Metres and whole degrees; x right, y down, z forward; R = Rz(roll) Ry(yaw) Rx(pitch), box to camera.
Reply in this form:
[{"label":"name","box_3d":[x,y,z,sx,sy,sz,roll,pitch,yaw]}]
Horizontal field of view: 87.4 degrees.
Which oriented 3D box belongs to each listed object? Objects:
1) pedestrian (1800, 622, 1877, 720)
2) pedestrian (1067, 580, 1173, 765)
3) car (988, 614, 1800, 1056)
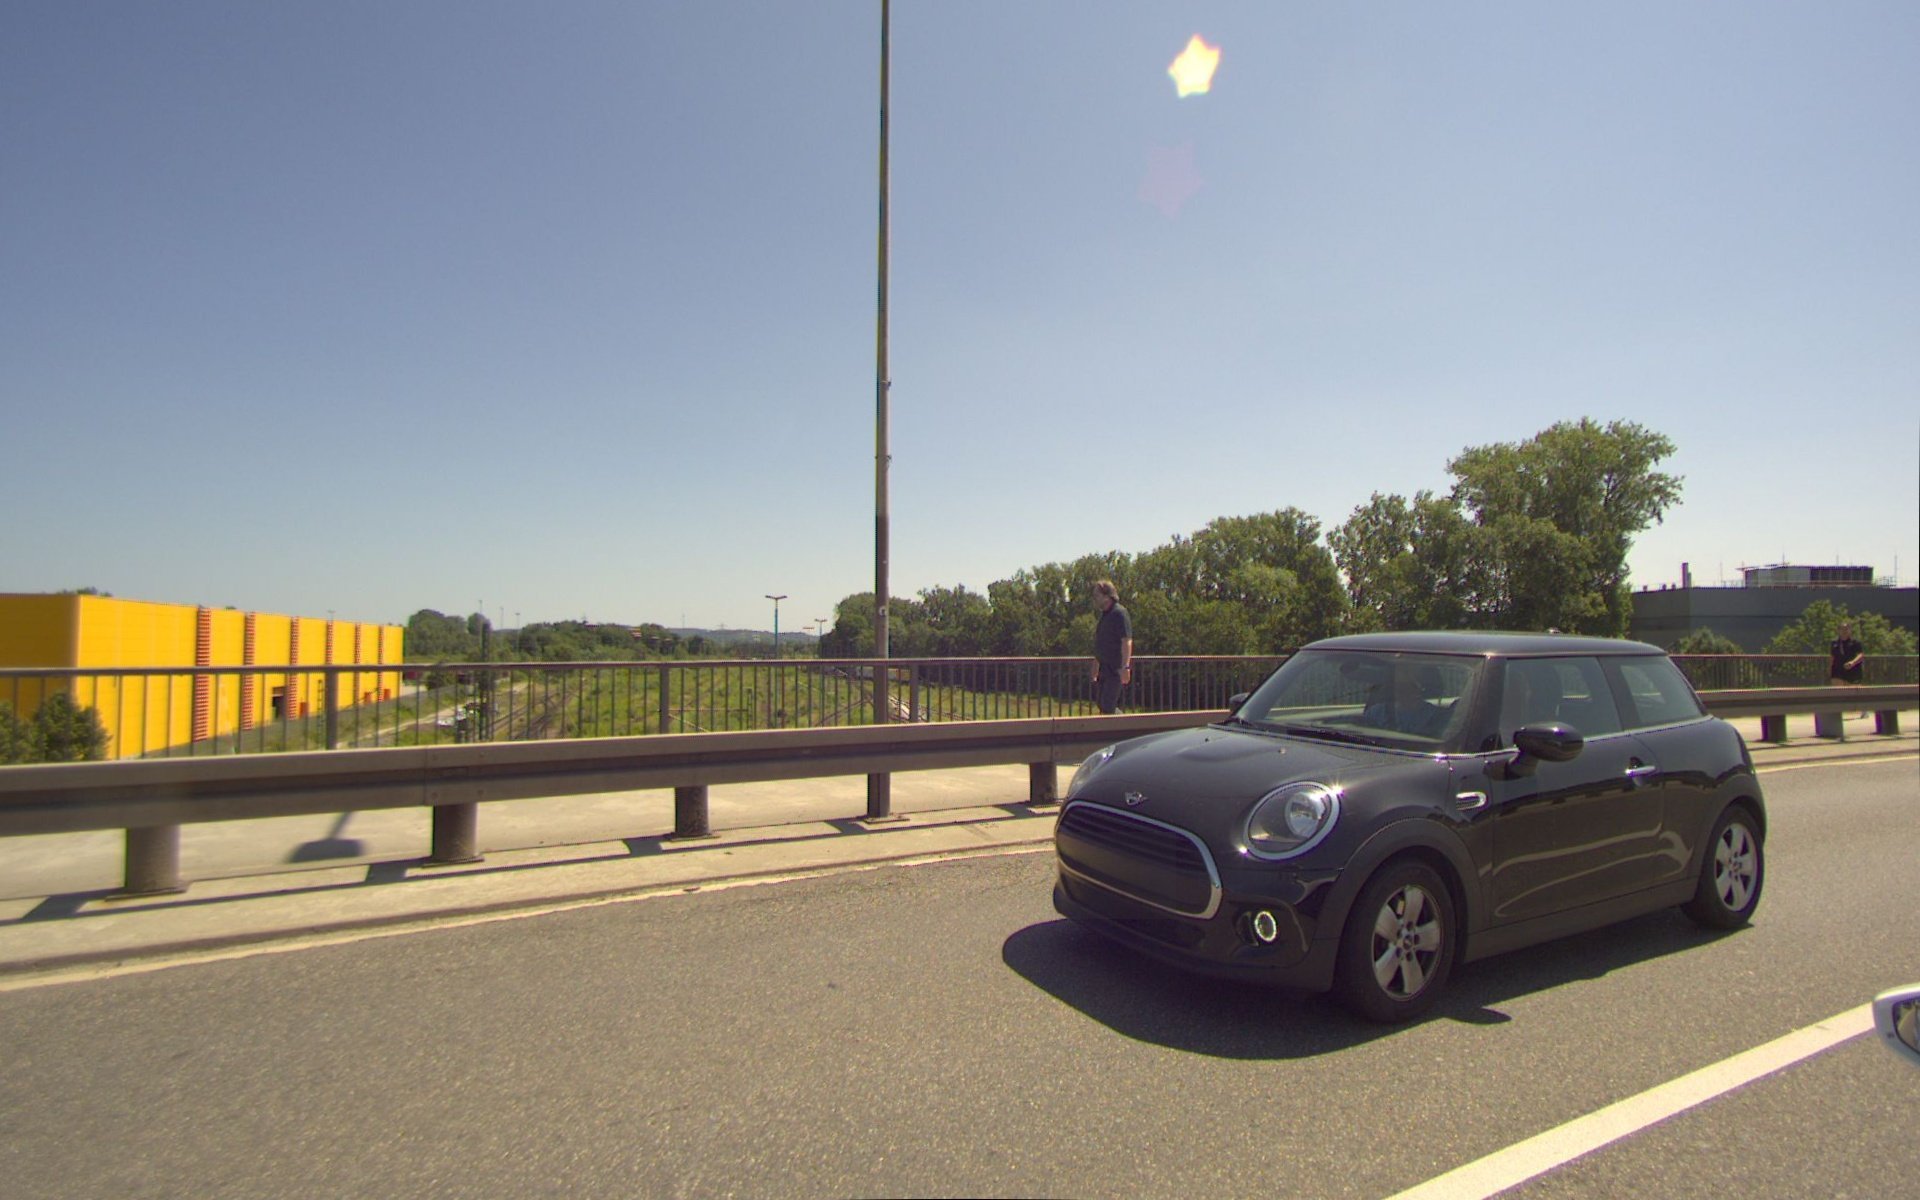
[{"label":"pedestrian","box_3d":[14.503,1.160,16.594,0.684,1.582,0.713,2,-2,-22]},{"label":"pedestrian","box_3d":[1.631,0.717,10.255,0.802,1.806,0.635,2,0,-31]},{"label":"car","box_3d":[2.190,0.852,4.971,3.727,1.438,1.782,2,-3,-28]}]
